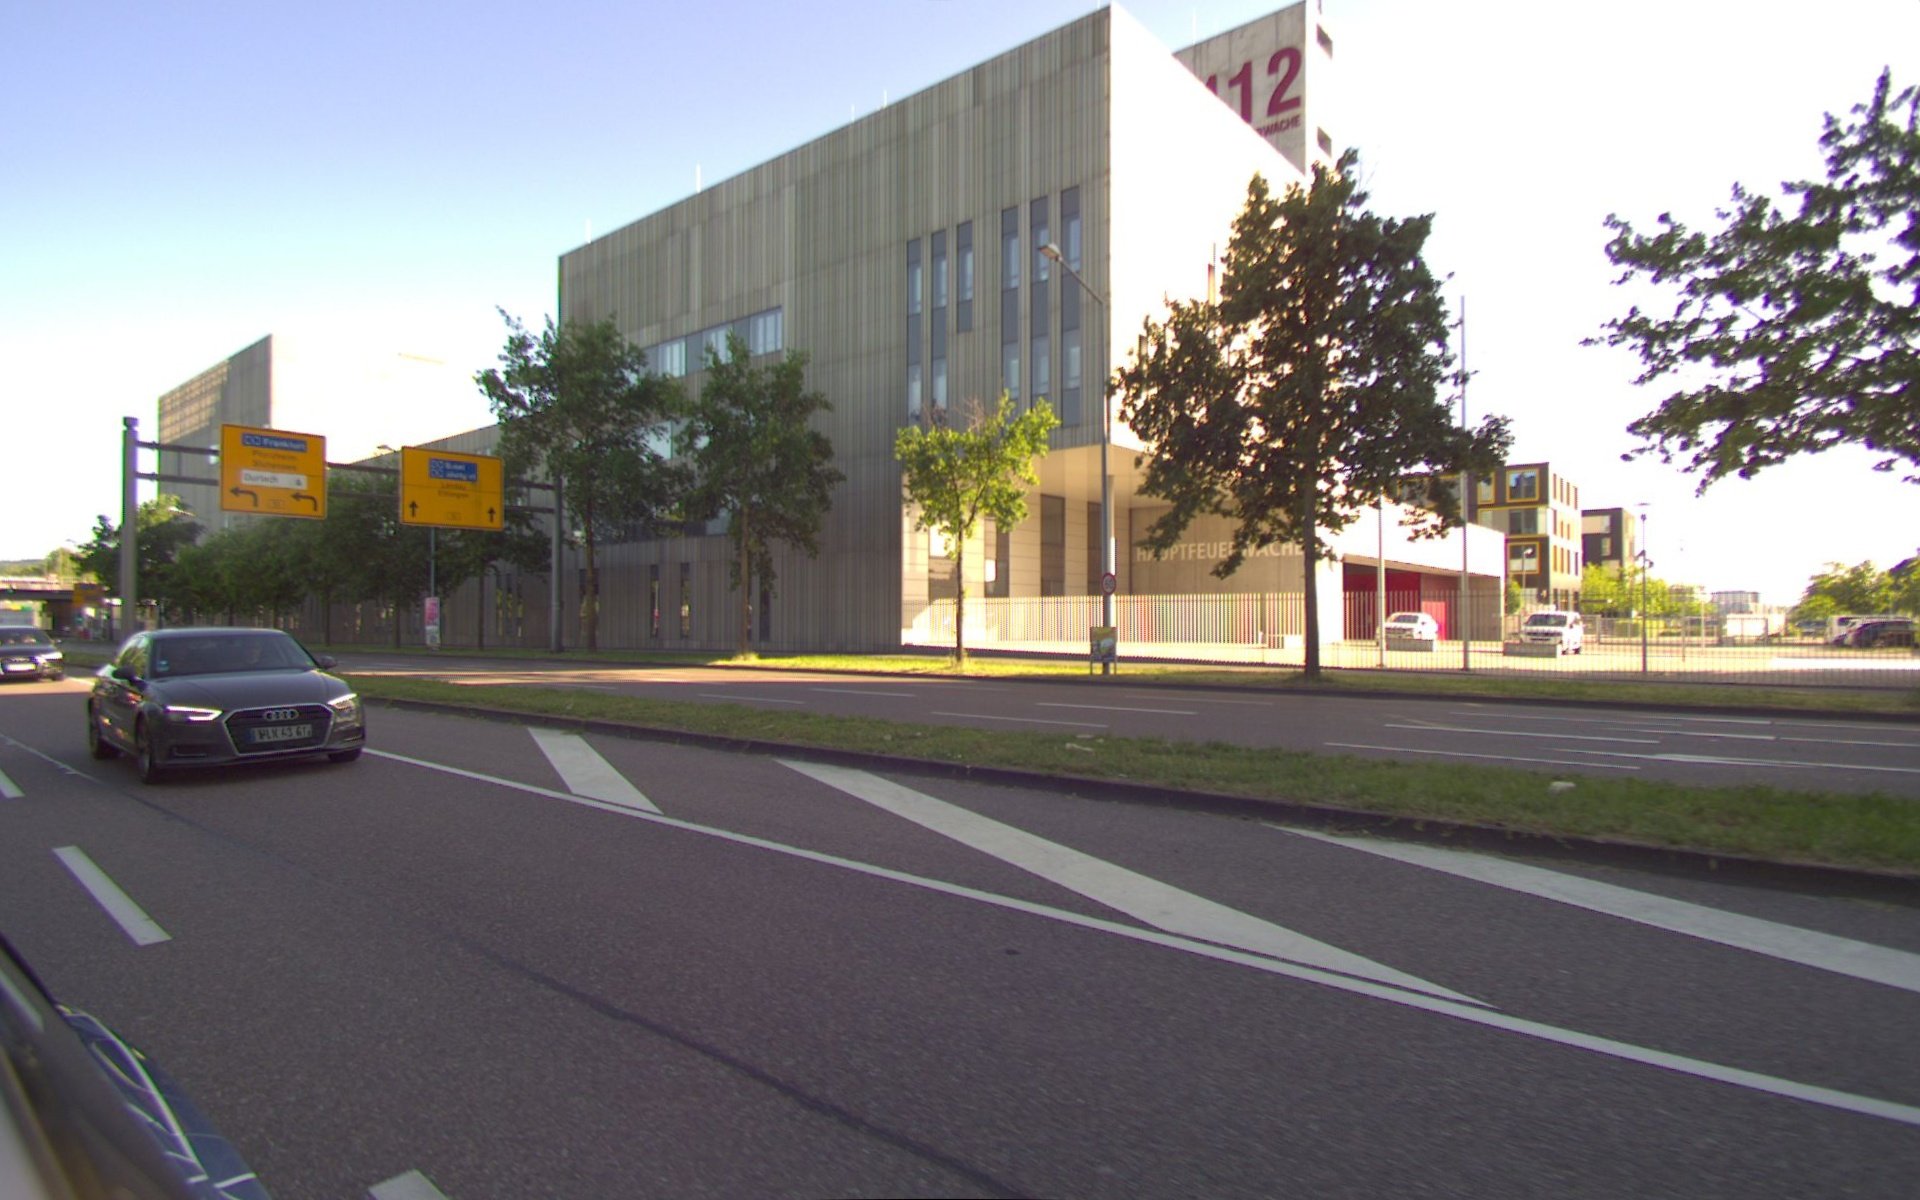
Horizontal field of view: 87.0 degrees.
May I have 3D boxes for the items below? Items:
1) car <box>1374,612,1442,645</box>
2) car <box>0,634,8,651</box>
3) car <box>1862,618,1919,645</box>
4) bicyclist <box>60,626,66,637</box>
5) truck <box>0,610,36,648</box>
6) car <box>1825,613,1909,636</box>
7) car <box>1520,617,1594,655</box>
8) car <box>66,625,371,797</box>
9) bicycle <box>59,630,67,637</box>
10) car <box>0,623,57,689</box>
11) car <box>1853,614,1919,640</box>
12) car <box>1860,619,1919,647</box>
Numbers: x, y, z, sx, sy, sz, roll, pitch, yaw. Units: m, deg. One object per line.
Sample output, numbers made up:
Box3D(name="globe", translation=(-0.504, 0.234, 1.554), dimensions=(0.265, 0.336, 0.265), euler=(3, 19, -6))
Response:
Box3D(name="car", translation=(21.088, 1.334, 47.563), dimensions=(1.761, 1.464, 4.211), euler=(-2, -2, 41))
Box3D(name="car", translation=(-86.781, 3.809, 90.529), dimensions=(3.997, 1.435, 1.816), euler=(-2, -3, 40))
Box3D(name="car", translation=(45.143, 1.496, 48.023), dimensions=(3.380, 1.268, 1.349), euler=(-1, -2, 39))
Box3D(name="bicyclist", translation=(-119.391, 4.187, 134.708), dimensions=(0.752, 1.453, 0.502), euler=(-2, -2, 39))
Box3D(name="truck", translation=(-78.736, 2.392, 83.574), dimensions=(7.110, 2.983, 2.658), euler=(-2, -3, 41))
Box3D(name="car", translation=(50.550, 1.354, 56.492), dimensions=(3.380, 1.268, 1.349), euler=(-1, -2, 39))
Box3D(name="car", translation=(25.638, 1.522, 43.393), dimensions=(1.934, 1.514, 4.341), euler=(-2, -2, 41))
Box3D(name="car", translation=(-7.902, 0.988, 10.620), dimensions=(4.363, 1.415, 1.680), euler=(-1, -1, 41))
Box3D(name="bicycle", translation=(-119.392, 4.508, 134.690), dimensions=(1.753, 0.897, 0.507), euler=(-2, -2, 40))
Box3D(name="car", translation=(-24.521, 1.398, 25.787), dimensions=(3.943, 1.549, 1.681), euler=(-1, 0, 40))
Box3D(name="car", translation=(46.470, 1.337, 50.052), dimensions=(3.380, 1.268, 1.349), euler=(-1, -2, 39))
Box3D(name="car", translation=(44.092, 1.515, 46.938), dimensions=(3.380, 1.268, 1.349), euler=(-1, -2, 39))
